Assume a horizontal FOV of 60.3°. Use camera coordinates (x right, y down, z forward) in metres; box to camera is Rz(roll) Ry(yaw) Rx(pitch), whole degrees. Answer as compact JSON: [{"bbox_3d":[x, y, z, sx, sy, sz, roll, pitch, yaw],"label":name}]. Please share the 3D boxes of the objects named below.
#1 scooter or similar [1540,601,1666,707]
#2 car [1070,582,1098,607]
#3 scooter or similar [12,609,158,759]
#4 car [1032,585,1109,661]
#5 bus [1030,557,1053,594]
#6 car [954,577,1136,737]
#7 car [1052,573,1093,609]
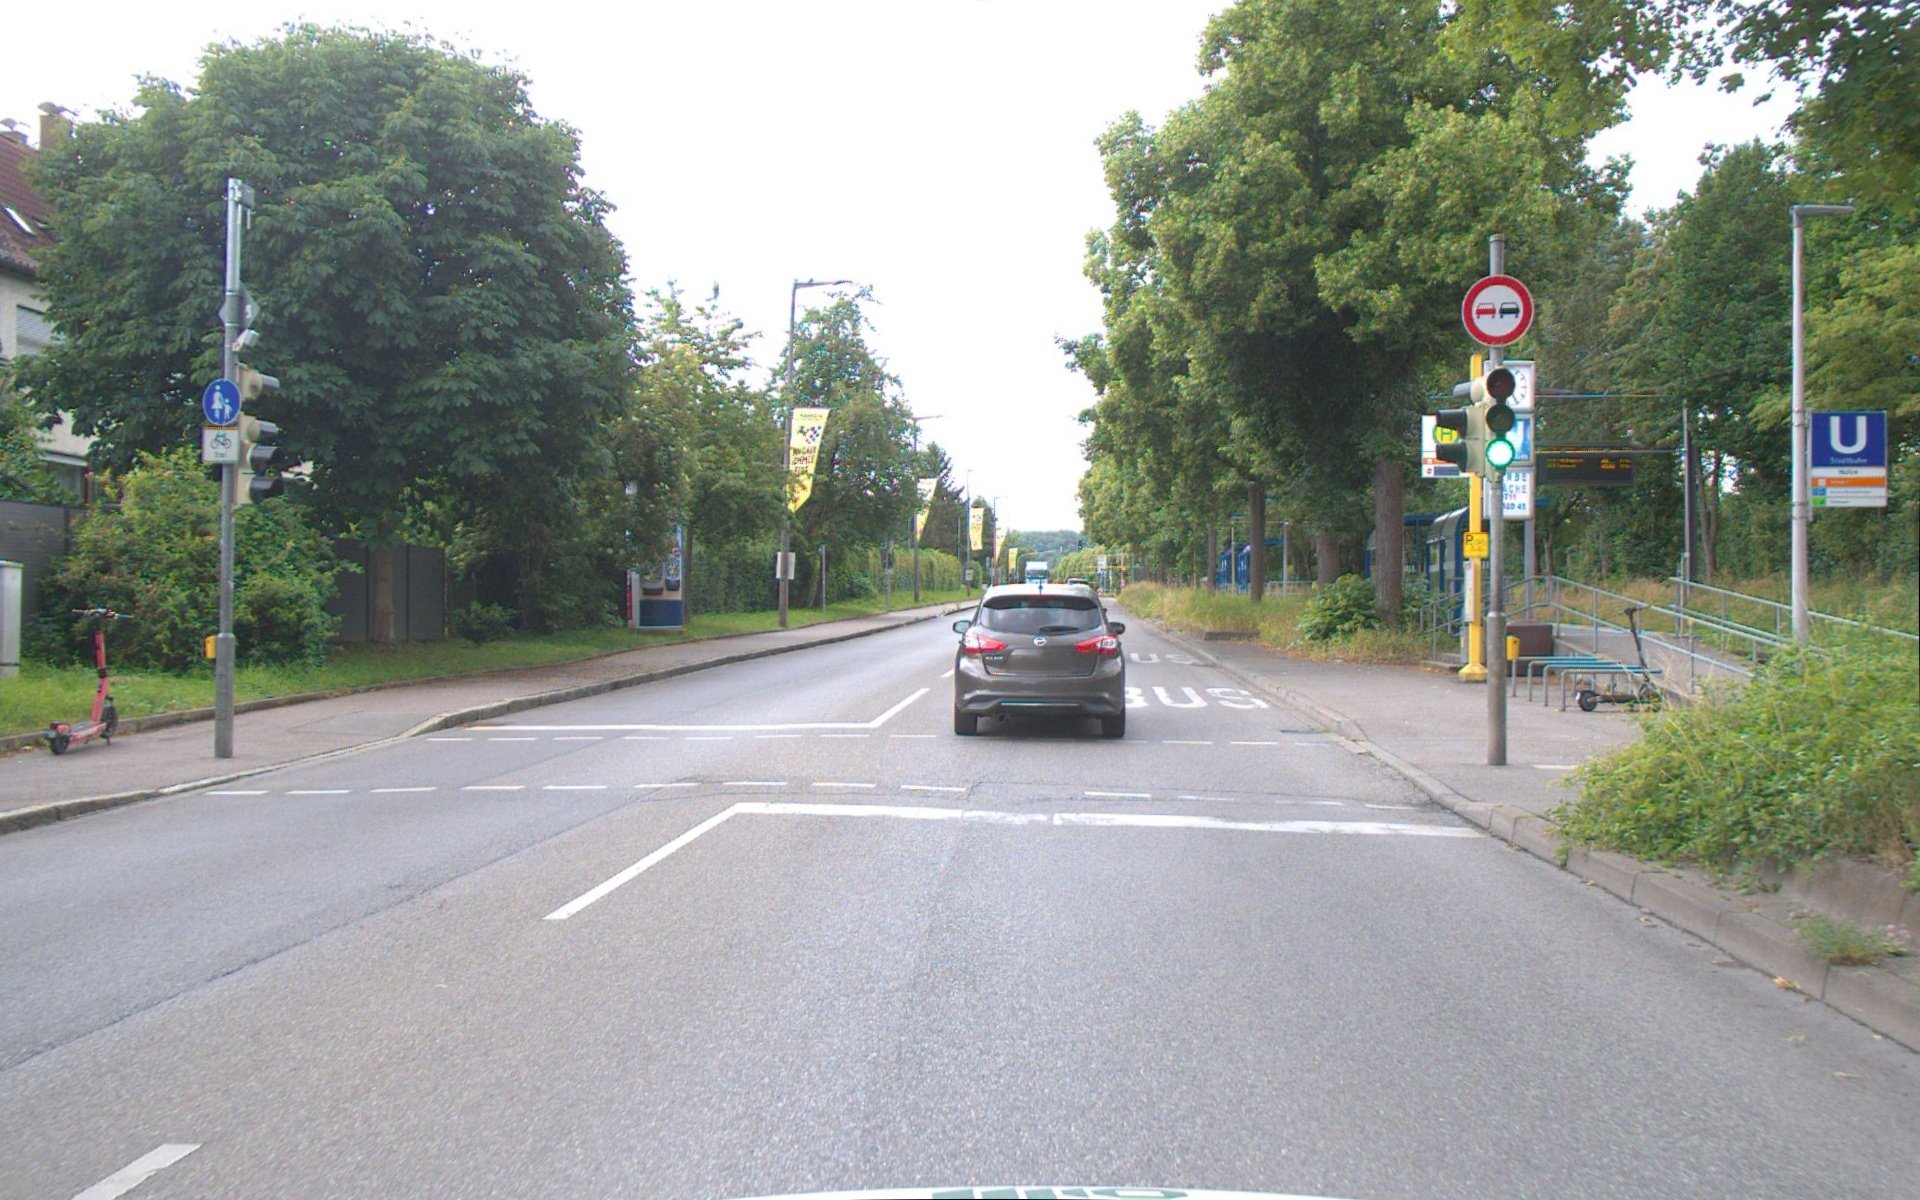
[{"bbox_3d":[7.845,0.657,20.190,1.430,1.264,0.483,1,0,-17],"label":"scooter or similar"},{"bbox_3d":[7.458,-0.309,99.726,1.656,1.466,3.543,1,0,4],"label":"car"},{"bbox_3d":[-7.957,0.734,15.099,0.453,1.281,1.427,0,0,5],"label":"scooter or similar"},{"bbox_3d":[2.267,0.435,33.903,1.470,1.466,3.543,1,0,4],"label":"car"},{"bbox_3d":[9.386,-2.815,189.943,2.435,4.096,10.222,0,0,4],"label":"bus"},{"bbox_3d":[0.964,0.552,17.827,1.746,1.533,3.698,0,0,4],"label":"car"},{"bbox_3d":[4.692,-0.375,68.938,1.656,1.466,3.543,1,0,4],"label":"car"}]
